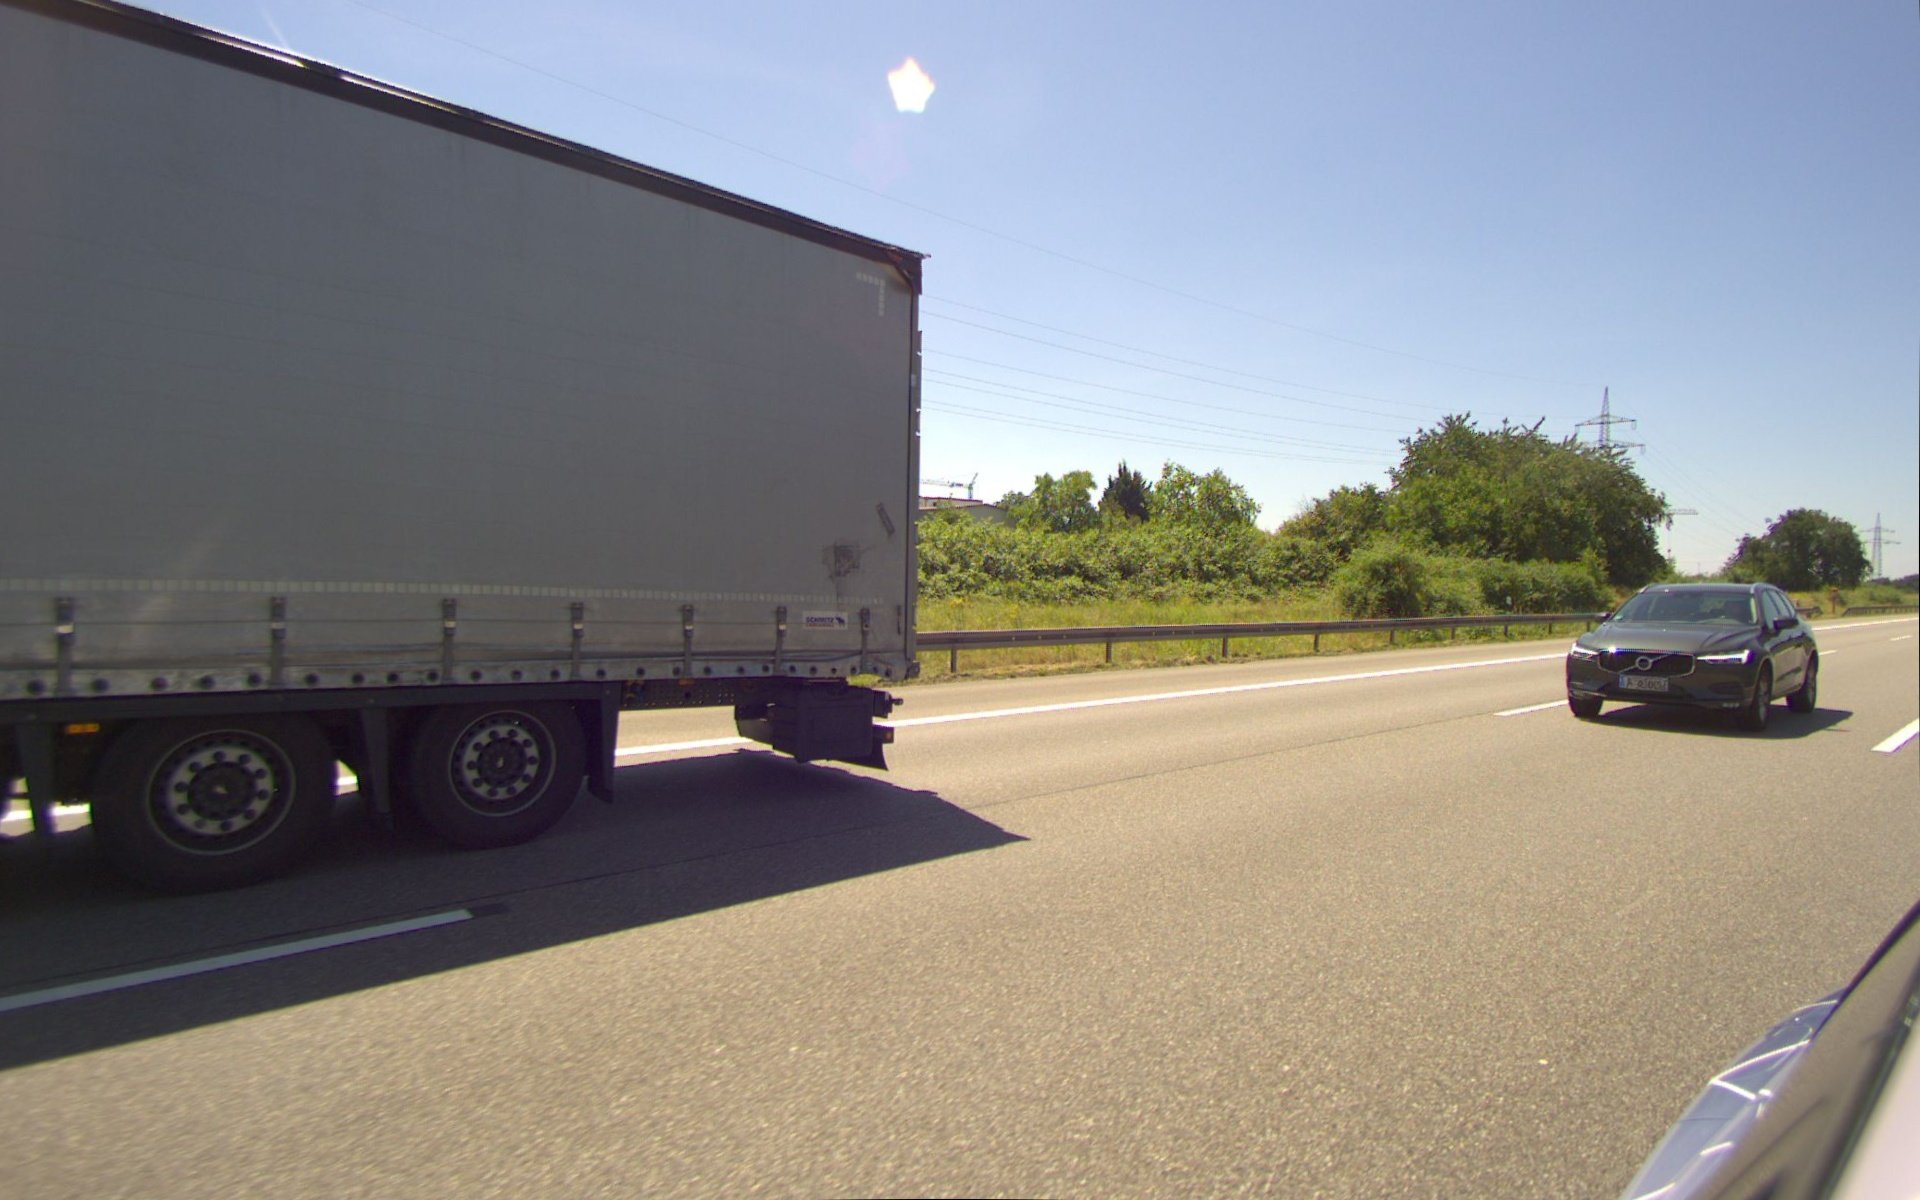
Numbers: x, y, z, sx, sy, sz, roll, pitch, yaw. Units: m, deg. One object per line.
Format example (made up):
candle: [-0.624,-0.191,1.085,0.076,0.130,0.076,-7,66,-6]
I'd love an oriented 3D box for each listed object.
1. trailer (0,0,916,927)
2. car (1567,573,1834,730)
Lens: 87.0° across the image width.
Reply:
trailer: [-6.064,-0.722,4.215,12.893,4.158,2.741,0,1,-41]
car: [9.270,0.513,12.562,3.935,1.643,1.877,0,1,-41]
